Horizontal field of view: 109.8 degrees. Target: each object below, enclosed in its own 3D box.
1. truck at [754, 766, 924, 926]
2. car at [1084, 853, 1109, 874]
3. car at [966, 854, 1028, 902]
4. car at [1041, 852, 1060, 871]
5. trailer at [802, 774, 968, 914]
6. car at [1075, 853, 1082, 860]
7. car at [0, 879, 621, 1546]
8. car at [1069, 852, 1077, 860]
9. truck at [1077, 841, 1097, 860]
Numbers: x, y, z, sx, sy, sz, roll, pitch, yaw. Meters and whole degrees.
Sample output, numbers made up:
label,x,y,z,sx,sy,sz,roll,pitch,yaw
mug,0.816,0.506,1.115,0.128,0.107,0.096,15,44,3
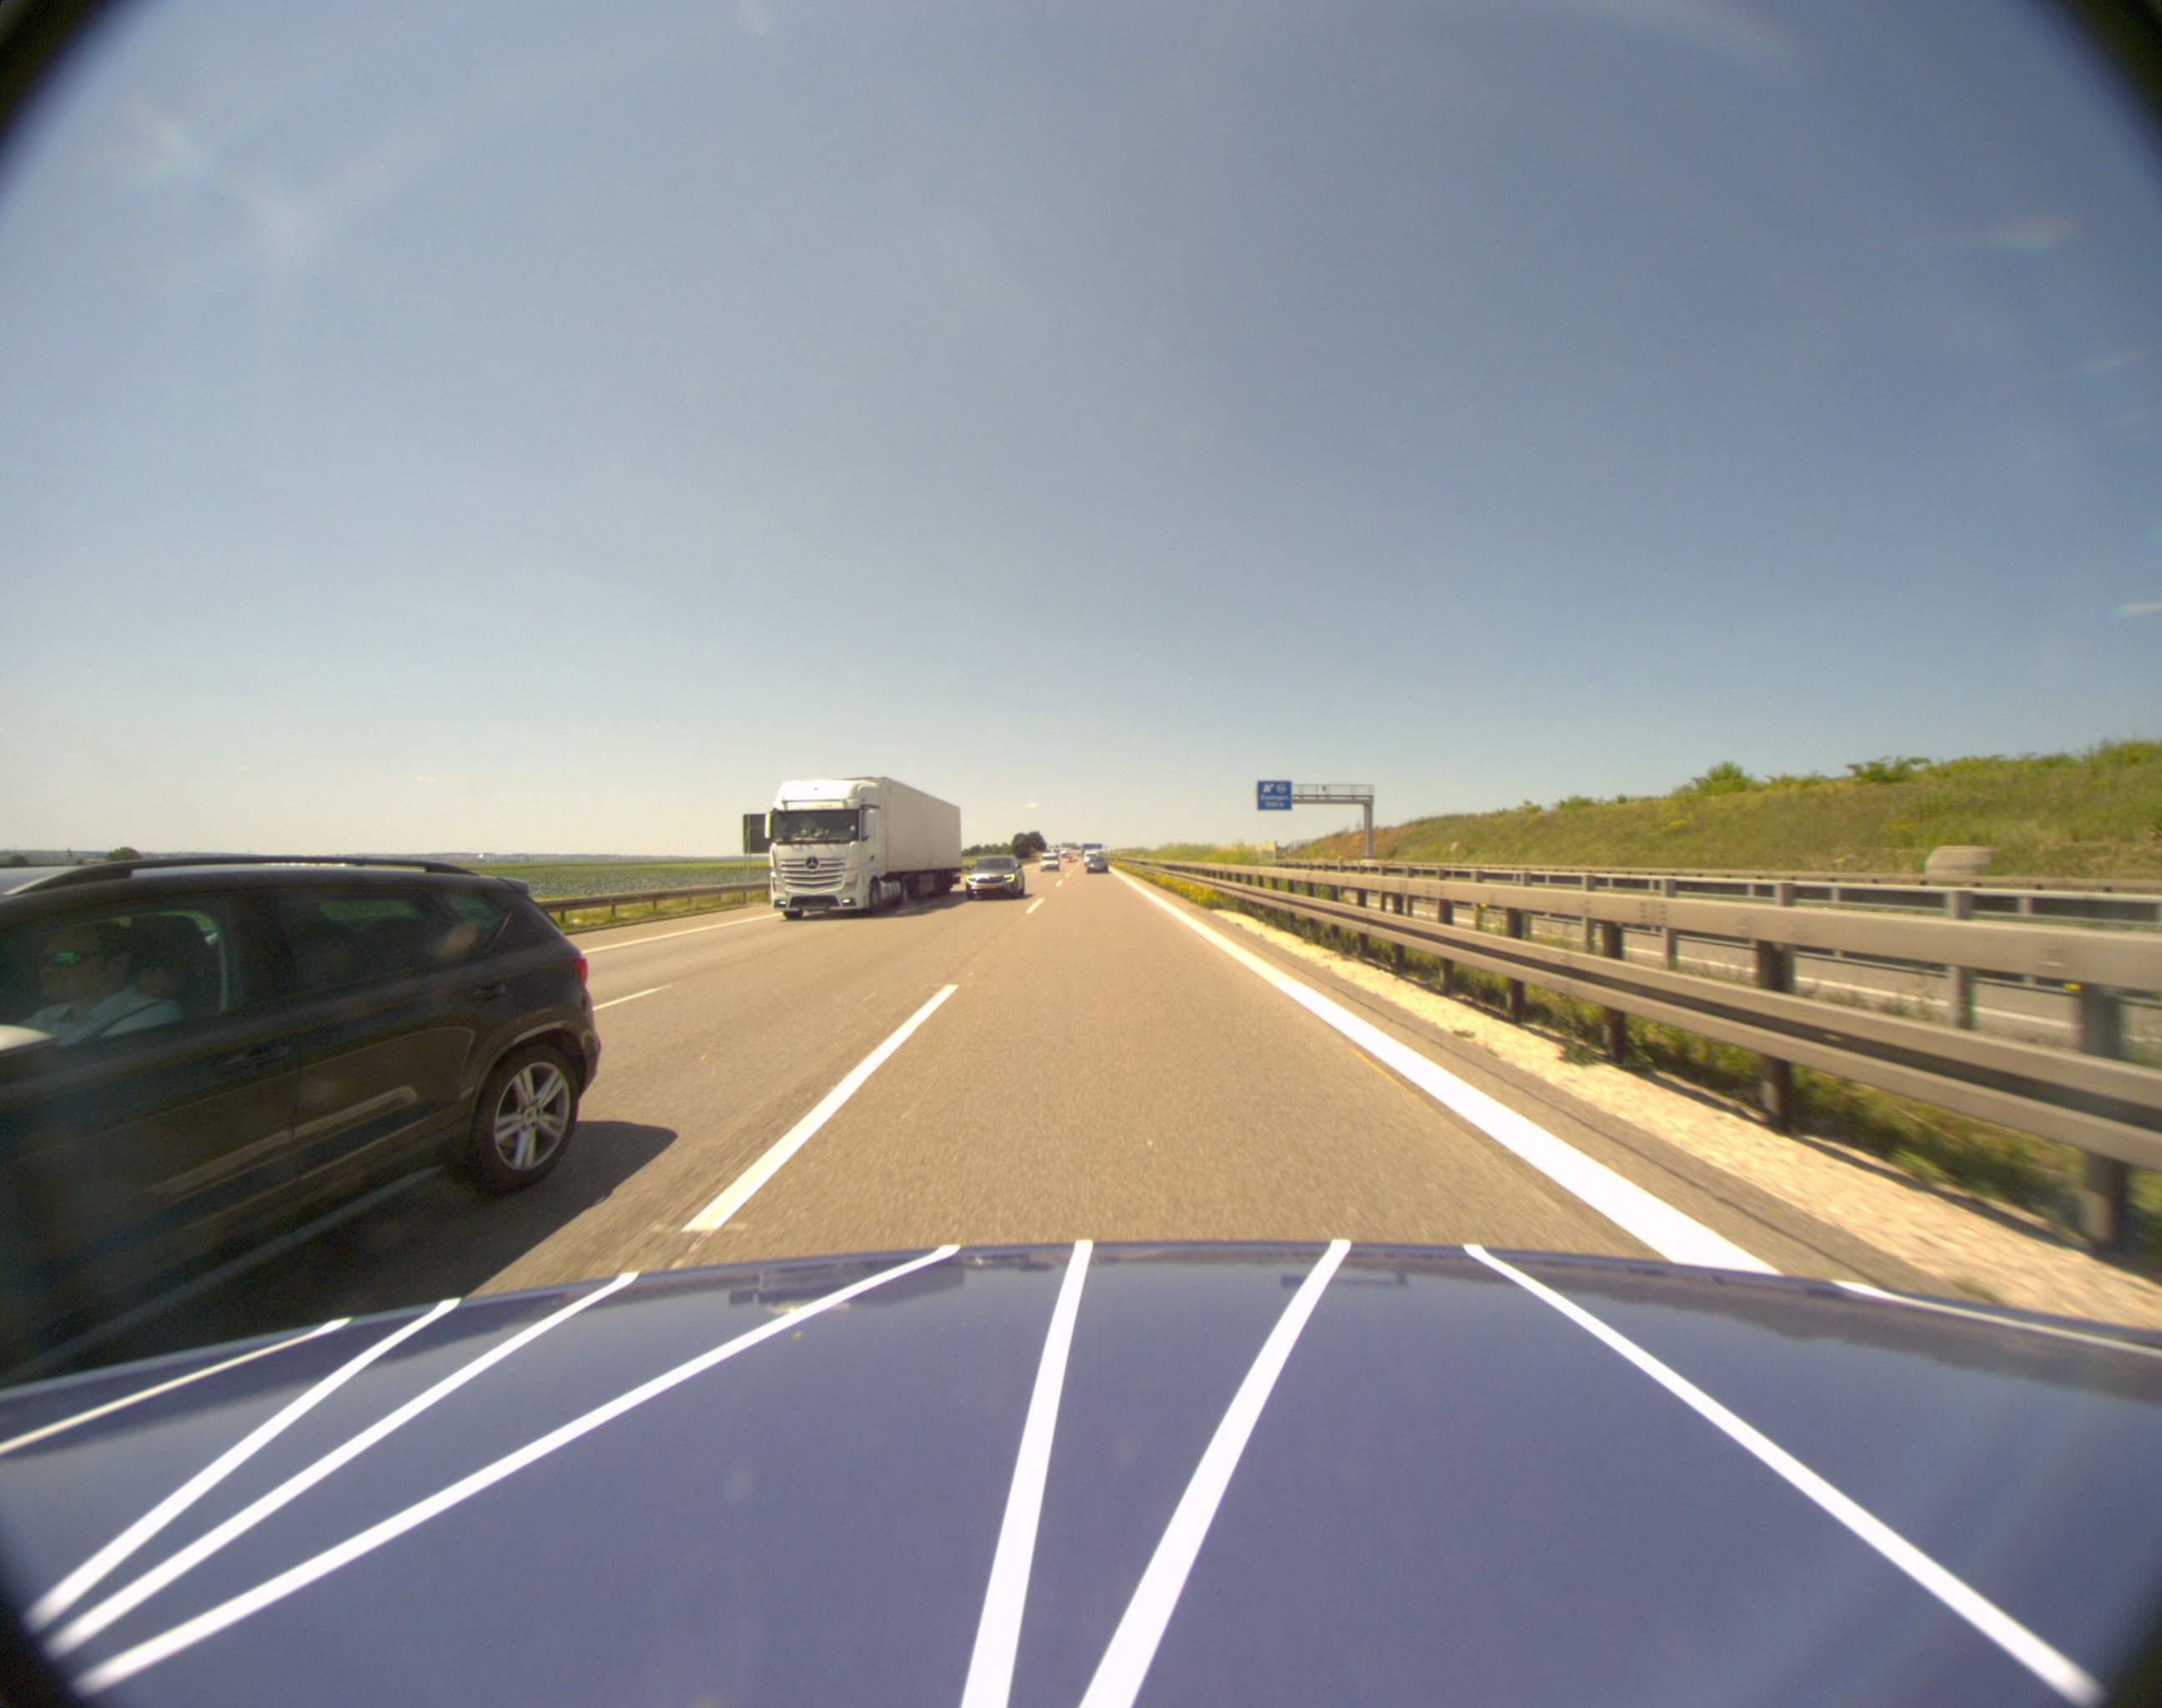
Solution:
label,x,y,z,sx,sy,sz,roll,pitch,yaw
truck,-7.028,-0.241,23.288,2.870,4.068,6.878,-2,1,0
car,1.194,0.758,60.007,1.715,1.586,4.546,0,0,-2
car,-3.114,0.848,29.055,1.856,1.639,4.644,-2,0,0
car,-3.073,0.708,77.367,1.812,1.836,5.311,-2,0,-2
trailer,-7.012,-0.360,29.987,2.875,4.195,13.292,-2,1,0
car,-0.655,0.664,192.541,1.724,1.514,3.581,-2,1,-2
car,-3.616,0.973,2.505,1.801,1.553,3.823,-2,1,0
car,-1.683,0.343,159.883,1.723,1.514,3.581,-2,1,1
truck,0.819,-0.464,102.408,2.334,2.378,6.685,-2,1,-2
